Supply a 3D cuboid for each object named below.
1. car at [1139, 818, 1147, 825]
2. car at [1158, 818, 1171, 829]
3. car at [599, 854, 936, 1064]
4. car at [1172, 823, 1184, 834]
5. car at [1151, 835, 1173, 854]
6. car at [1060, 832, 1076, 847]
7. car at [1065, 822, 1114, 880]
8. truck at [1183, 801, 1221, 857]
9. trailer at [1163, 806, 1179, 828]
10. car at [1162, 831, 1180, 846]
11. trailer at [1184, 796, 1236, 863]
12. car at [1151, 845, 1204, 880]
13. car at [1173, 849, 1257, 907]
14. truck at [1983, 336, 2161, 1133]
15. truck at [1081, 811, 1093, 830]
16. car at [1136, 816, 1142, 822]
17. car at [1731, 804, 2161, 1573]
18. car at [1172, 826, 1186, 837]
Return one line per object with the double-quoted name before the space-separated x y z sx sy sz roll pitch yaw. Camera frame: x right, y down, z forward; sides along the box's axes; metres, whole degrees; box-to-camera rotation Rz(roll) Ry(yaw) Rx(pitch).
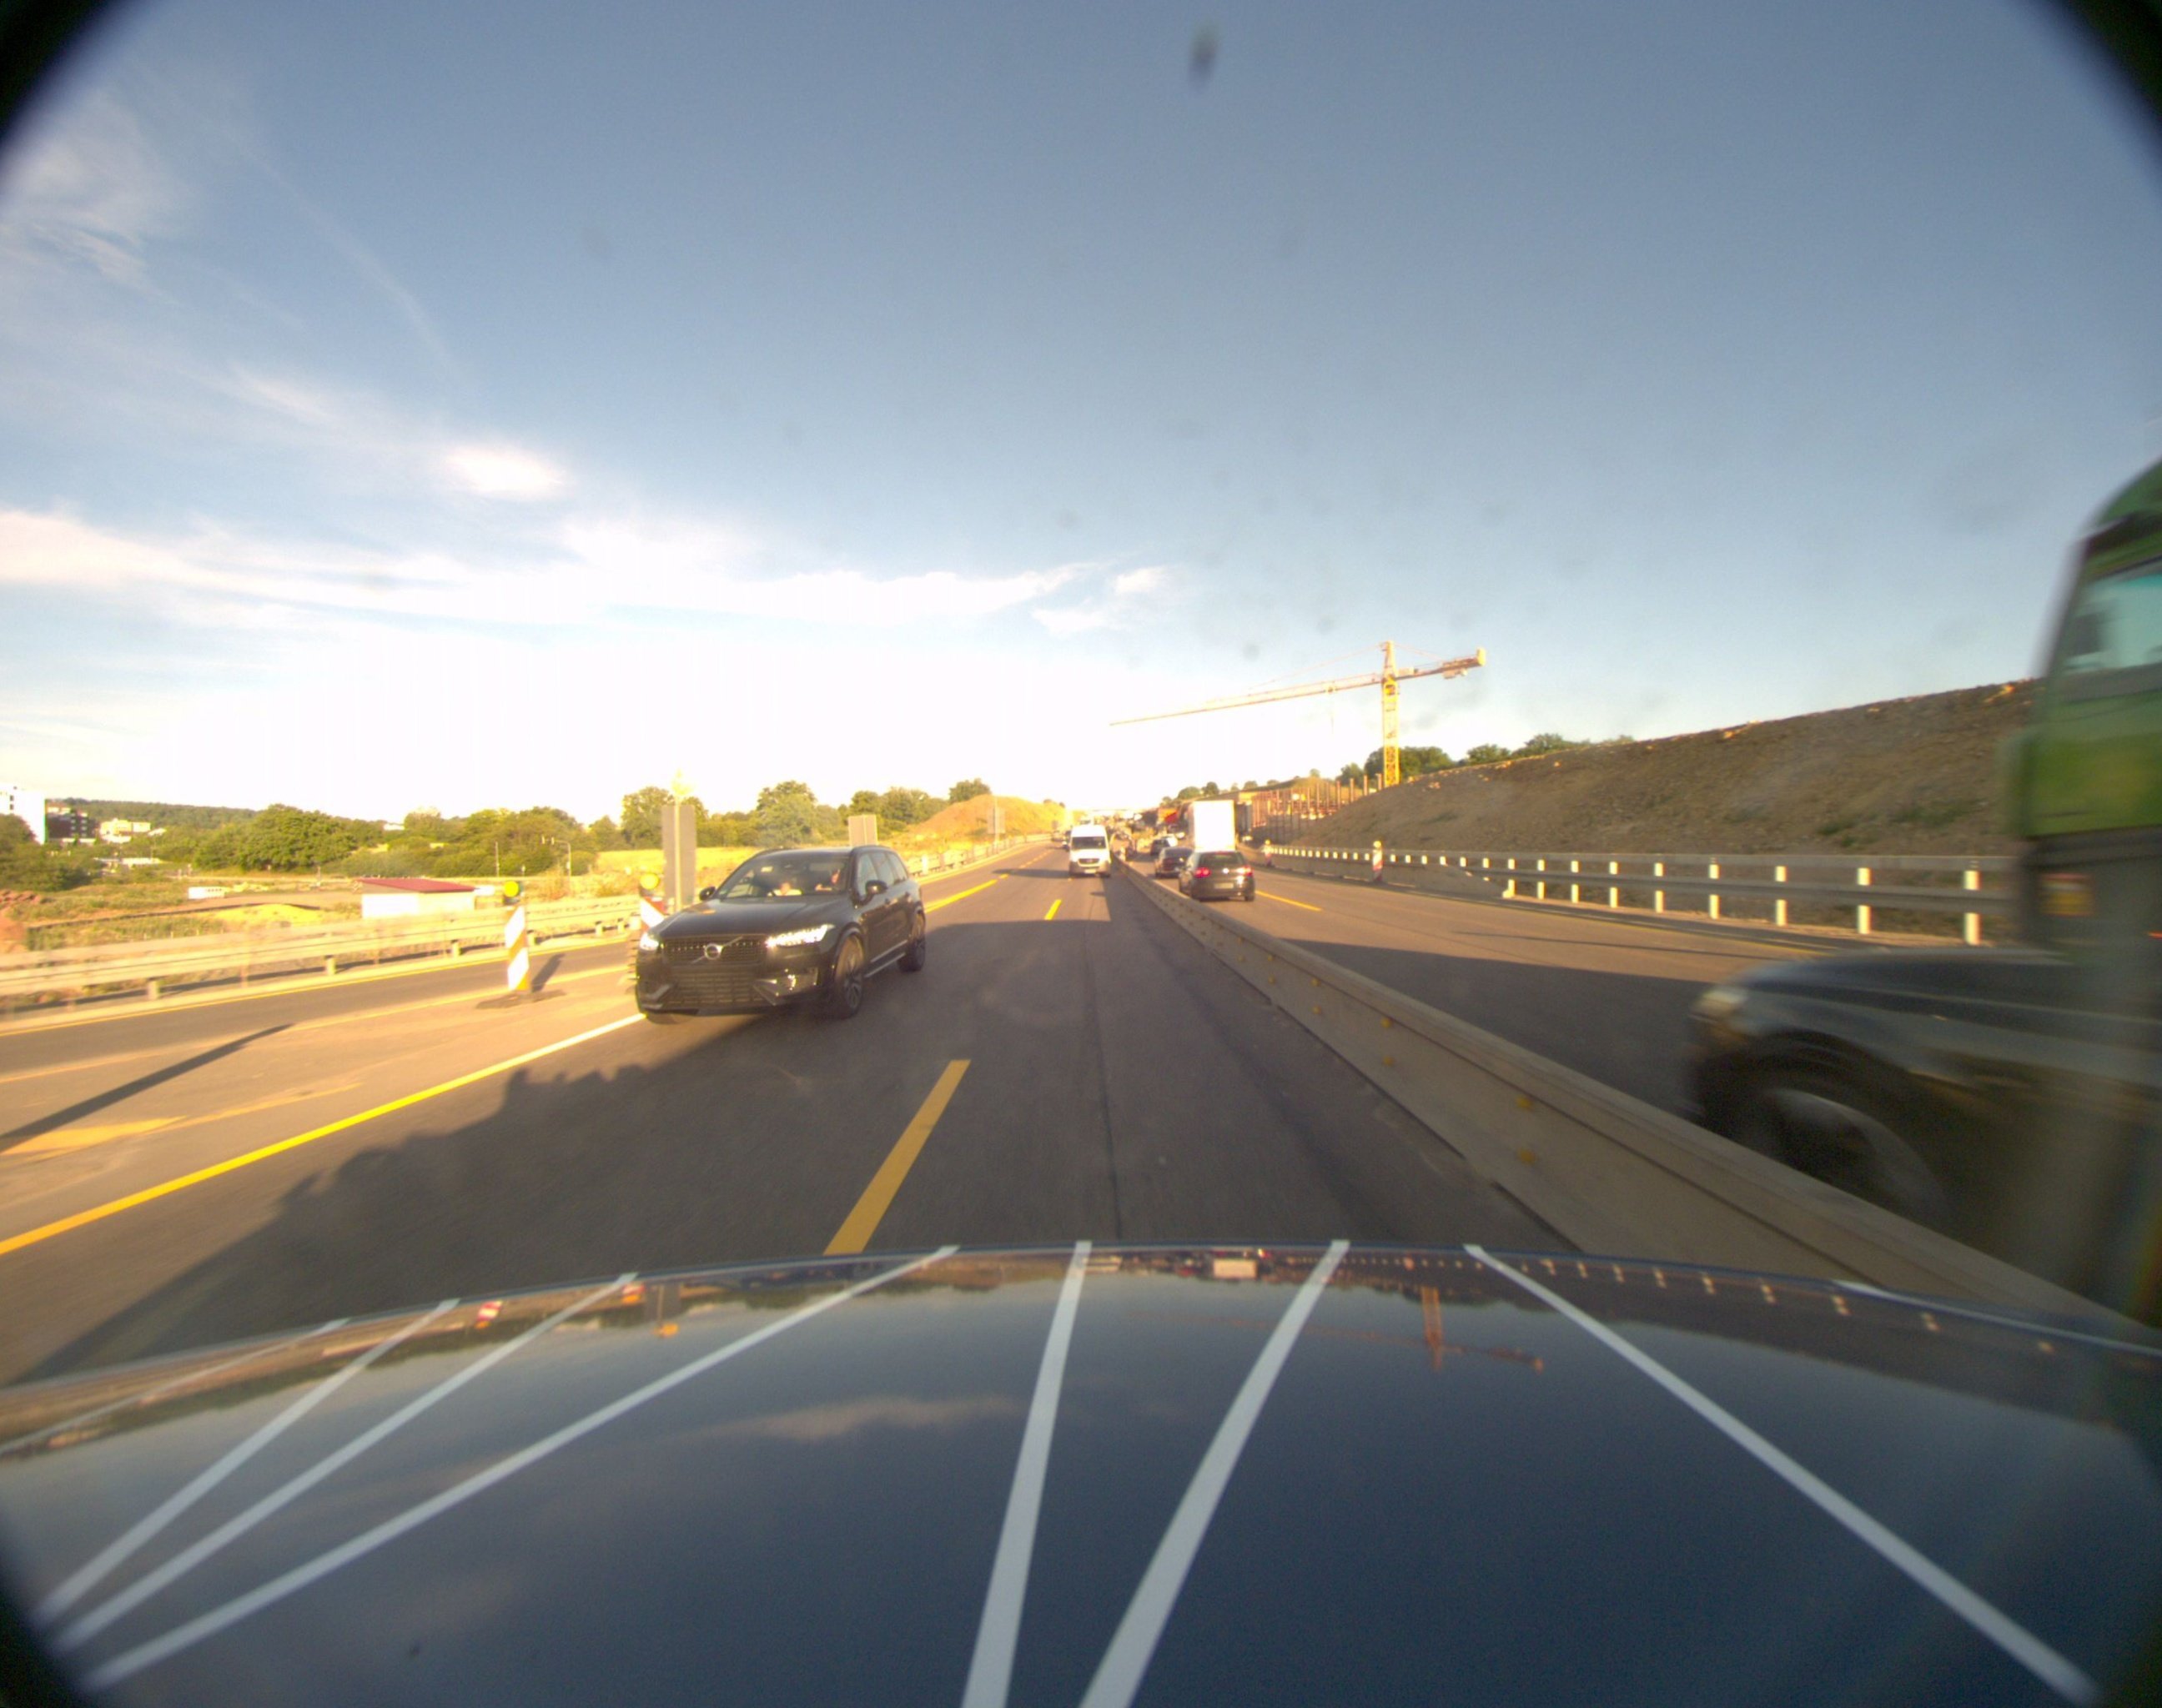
"car" 16.291 -8.489 199.490 1.734 1.592 4.658 -2 3 1
"car" 16.269 -5.959 147.848 1.997 2.003 5.257 -2 3 10
"car" -3.178 0.909 9.028 1.902 1.703 4.887 -2 1 0
"car" 16.227 -4.260 126.635 1.792 1.611 4.874 -3 3 9
"car" 7.130 -0.877 66.897 1.854 1.475 4.511 -1 2 6
"car" -1.514 -1.721 88.959 1.791 1.478 3.997 -2 3 0
"car" 0.446 -0.208 36.591 2.109 2.519 5.219 -2 2 2
"truck" 9.849 -2.055 62.446 2.558 4.198 6.050 -3 2 6
"trailer" 19.326 -8.049 163.591 2.589 4.447 14.132 -3 3 4
"car" 9.745 -1.689 82.532 1.792 1.480 4.219 -1 2 5
"trailer" 9.201 -1.802 55.800 2.536 4.190 13.934 -3 2 5
"car" 4.278 0.336 34.392 1.841 1.401 4.494 -2 1 1
"car" 3.774 0.608 22.067 1.720 1.401 4.326 -2 1 1
"truck" 6.880 -0.631 1.711 2.776 4.057 5.775 -3 0 1
"truck" 1.268 -7.252 165.501 2.264 3.706 6.569 -5 2 -1
"car" 16.605 -10.111 217.661 1.665 1.383 3.998 -6 3 3
"car" 3.167 0.693 0.359 1.916 1.600 4.494 -2 1 1
"car" 13.306 -3.094 103.005 1.792 1.350 4.636 -3 3 9
